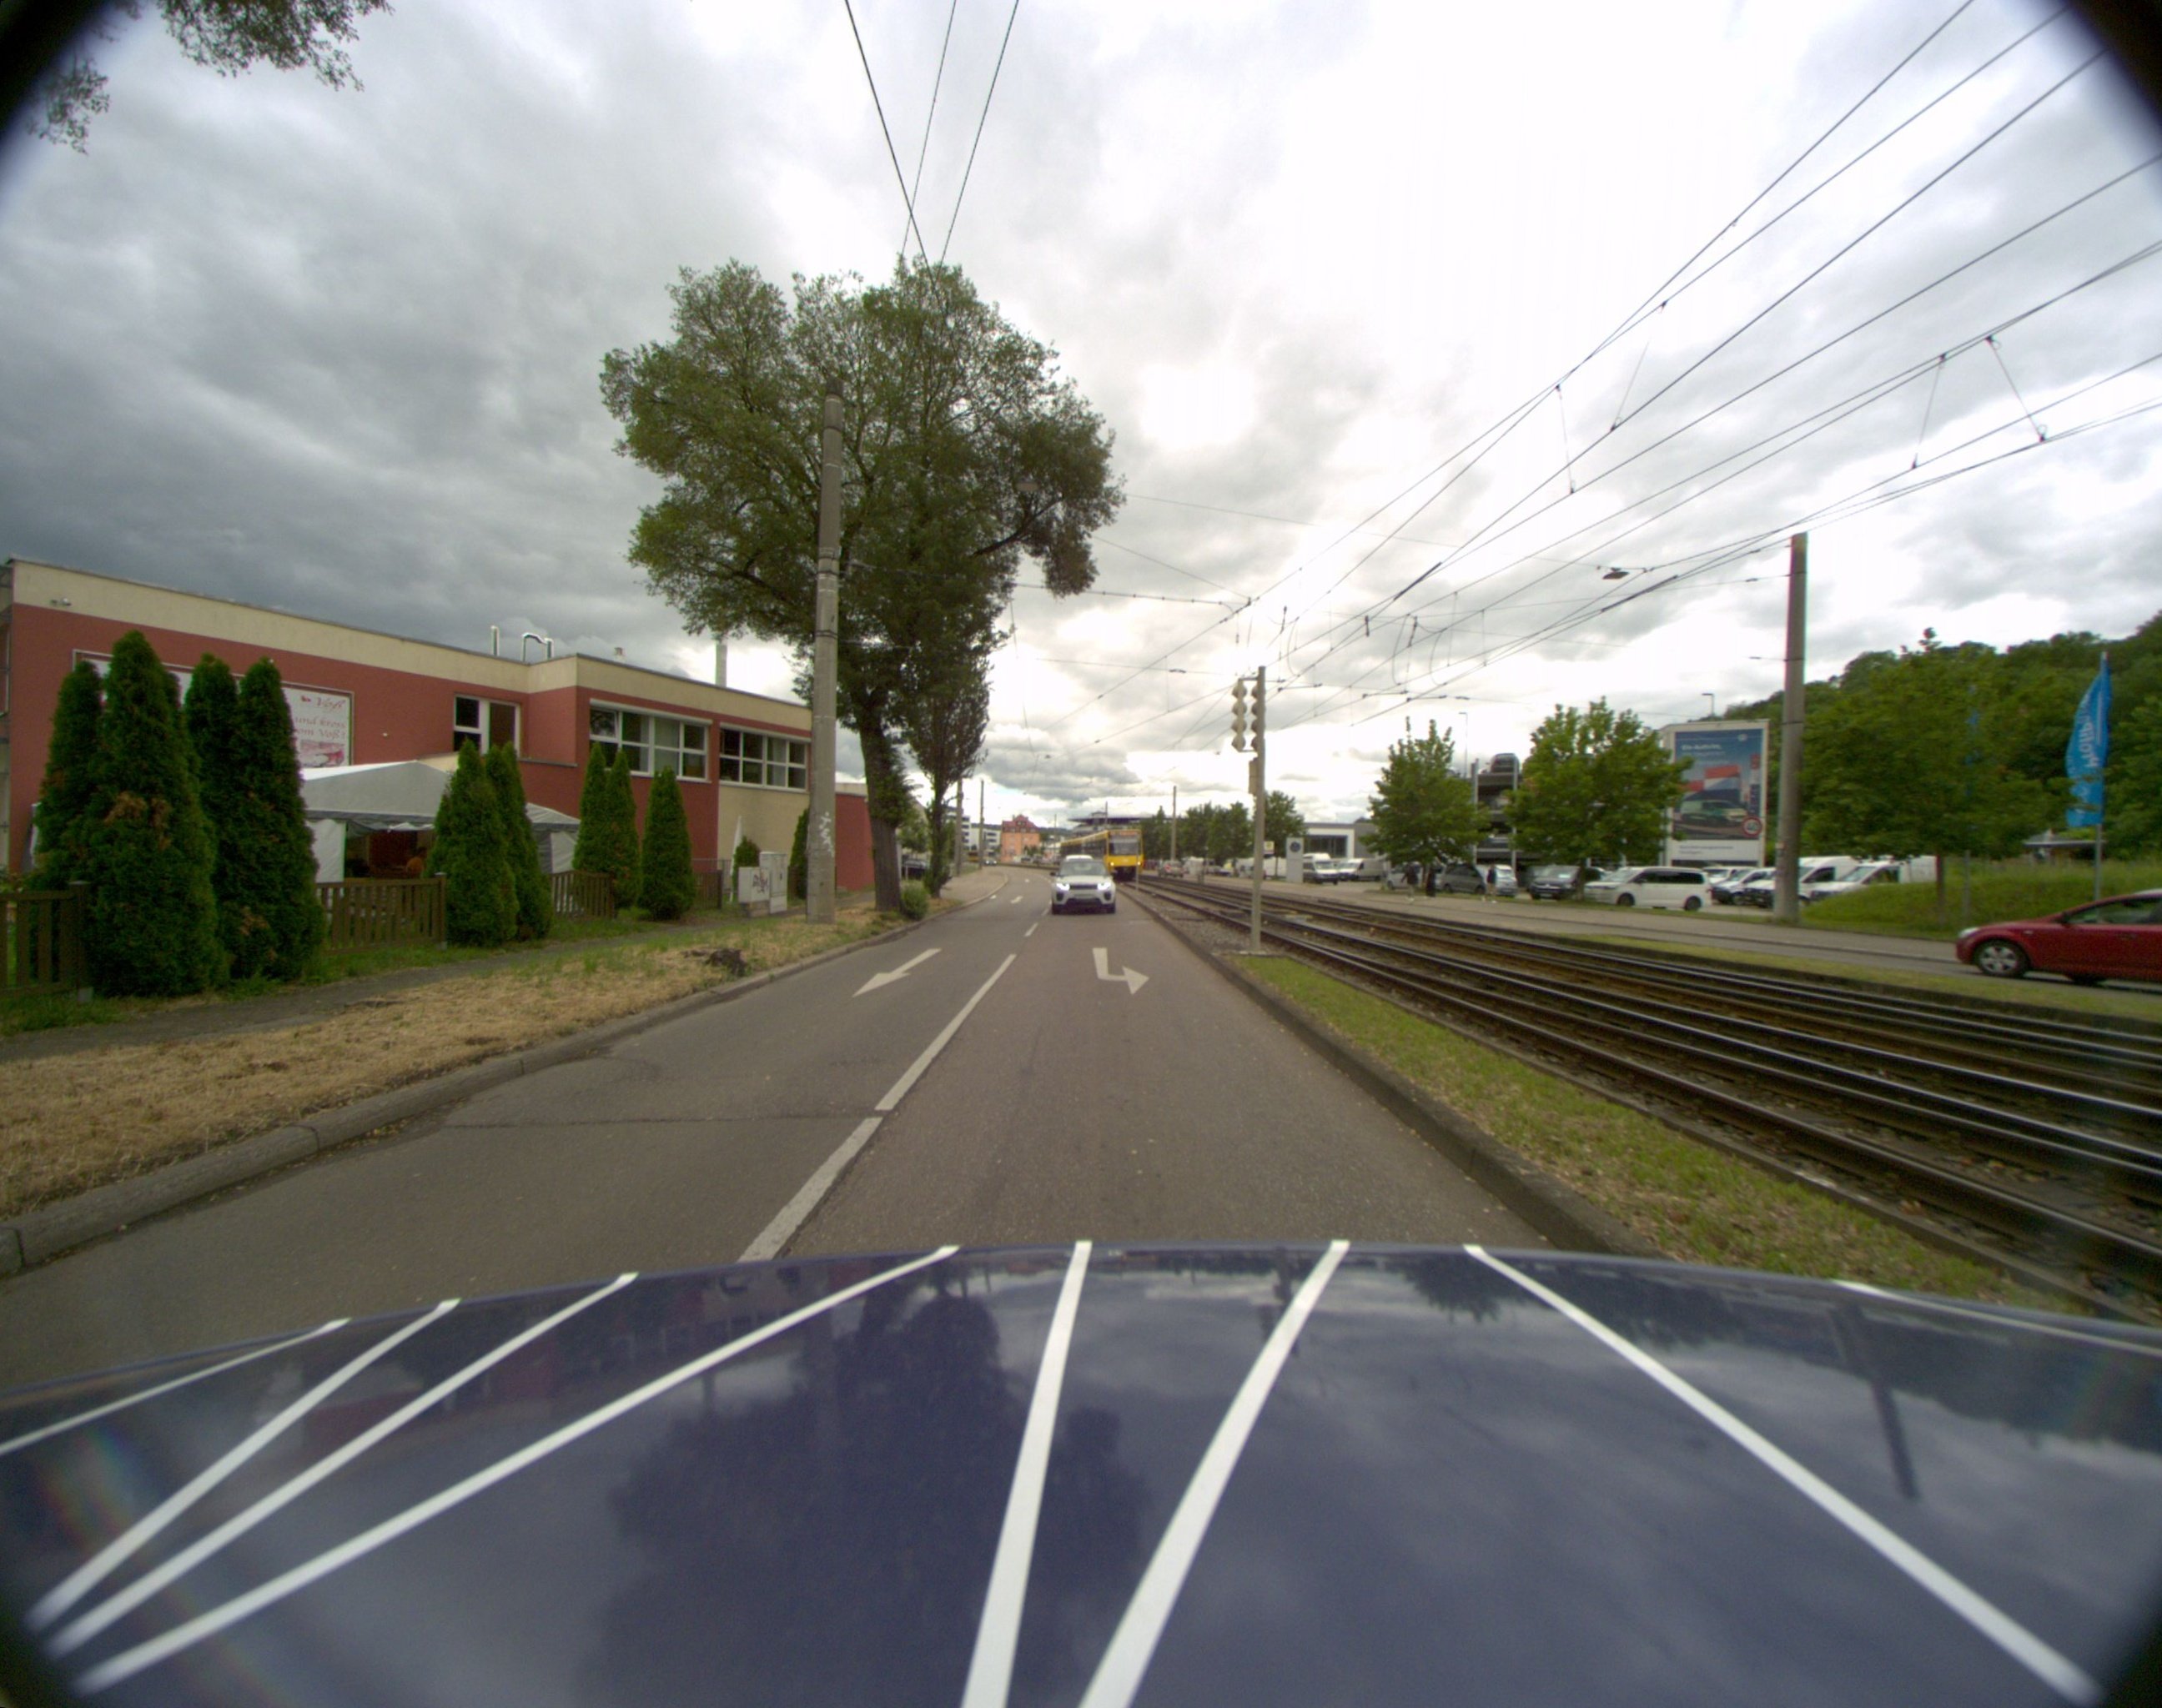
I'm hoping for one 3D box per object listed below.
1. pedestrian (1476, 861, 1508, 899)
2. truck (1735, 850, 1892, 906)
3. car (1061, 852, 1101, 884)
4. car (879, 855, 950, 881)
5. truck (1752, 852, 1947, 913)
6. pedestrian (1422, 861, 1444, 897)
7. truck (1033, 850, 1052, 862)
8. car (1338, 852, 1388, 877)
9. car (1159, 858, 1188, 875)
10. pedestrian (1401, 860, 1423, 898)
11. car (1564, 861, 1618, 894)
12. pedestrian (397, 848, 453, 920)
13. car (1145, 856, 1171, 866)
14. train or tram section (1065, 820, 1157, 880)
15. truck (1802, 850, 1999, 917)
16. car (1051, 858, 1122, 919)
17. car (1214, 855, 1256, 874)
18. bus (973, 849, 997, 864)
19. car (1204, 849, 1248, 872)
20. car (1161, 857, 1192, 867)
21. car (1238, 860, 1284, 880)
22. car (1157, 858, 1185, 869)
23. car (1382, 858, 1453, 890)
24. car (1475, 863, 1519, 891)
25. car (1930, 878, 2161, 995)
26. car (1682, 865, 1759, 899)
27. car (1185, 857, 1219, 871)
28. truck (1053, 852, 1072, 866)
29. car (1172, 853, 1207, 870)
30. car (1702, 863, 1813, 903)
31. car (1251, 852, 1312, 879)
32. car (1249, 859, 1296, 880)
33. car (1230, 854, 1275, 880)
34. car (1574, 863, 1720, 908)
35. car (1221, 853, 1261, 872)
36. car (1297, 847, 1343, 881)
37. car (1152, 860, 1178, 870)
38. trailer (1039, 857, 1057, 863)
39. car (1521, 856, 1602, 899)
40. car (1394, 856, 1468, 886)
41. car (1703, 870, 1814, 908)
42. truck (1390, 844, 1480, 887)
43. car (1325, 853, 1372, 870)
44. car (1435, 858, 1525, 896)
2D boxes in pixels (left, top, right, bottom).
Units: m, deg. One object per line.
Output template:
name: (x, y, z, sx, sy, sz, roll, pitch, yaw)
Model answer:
pedestrian: (18.163, 1.145, 33.580, 0.720, 1.646, 1.041, -2, 0, -13)
truck: (36.454, 1.147, 38.049, 5.061, 2.572, 2.472, 1, 0, 19)
car: (-0.065, 0.841, 46.812, 2.000, 1.881, 4.624, 1, 0, -6)
car: (-10.846, 0.879, 49.569, 4.223, 1.434, 1.766, 3, 1, 22)
truck: (35.138, 1.251, 34.998, 5.765, 2.572, 2.472, 1, 0, 19)
pedestrian: (17.279, 1.214, 37.291, 0.630, 1.703, 0.855, -1, 0, -3)
truck: (-10.220, 0.600, 199.061, 3.119, 2.904, 8.950, 3, -1, -14)
car: (30.560, 1.129, 82.386, 5.965, 2.587, 1.999, 1, 0, -35)
car: (8.928, 1.207, 73.584, 1.896, 1.523, 4.254, 4, -1, -4)
pedestrian: (16.158, 1.208, 37.123, 0.678, 1.802, 0.855, -1, 0, -3)
car: (33.702, 1.509, 50.338, 1.995, 2.001, 4.475, 1, 0, 21)
pedestrian: (-13.951, 0.624, 16.170, 0.703, 1.481, 0.771, 1, 0, 37)
car: (13.546, 1.269, 133.584, 4.190, 1.608, 2.062, 1, 0, -4)
train or tram section: (1.853, -0.355, 59.311, 3.400, 3.984, 16.925, -1, 1, -11)
truck: (34.242, 1.153, 32.019, 5.059, 2.572, 2.473, 1, 0, 25)
car: (0.105, 0.994, 23.504, 1.999, 1.717, 3.999, 0, 0, -2)
car: (18.080, 1.256, 89.122, 4.380, 2.160, 2.002, 1, 0, -10)
bus: (-27.447, 0.609, 217.207, 3.566, 3.930, 10.468, -1, 1, -27)
car: (17.987, 0.804, 94.351, 4.983, 2.682, 2.113, 1, 0, -10)
car: (14.869, 1.229, 118.470, 4.380, 1.608, 2.003, 1, 0, -8)
car: (19.358, 1.746, 81.715, 4.380, 2.093, 2.002, 1, 0, -10)
car: (14.271, 1.457, 120.546, 3.998, 1.608, 1.999, 1, 0, -4)
car: (22.157, 1.257, 50.221, 2.000, 2.002, 4.916, 1, 0, -8)
car: (28.704, 1.553, 52.557, 1.995, 1.820, 4.475, 1, 0, 21)
car: (15.786, 1.238, 10.854, 2.000, 1.506, 4.498, 4, 0, -6)
car: (39.585, 1.688, 47.015, 4.284, 2.001, 1.996, 0, -1, -25)
car: (16.891, 1.376, 106.239, 4.378, 1.834, 2.003, 1, 0, -5)
truck: (-4.260, 1.100, 172.600, 2.874, 2.963, 8.446, 3, -1, -12)
car: (15.486, 1.084, 108.358, 4.510, 2.298, 2.124, 1, 0, -5)
car: (36.501, 1.527, 41.110, 3.993, 2.002, 2.002, 0, 0, 11)
car: (20.118, 1.190, 76.492, 5.489, 2.587, 2.245, 1, 0, -6)
car: (19.955, 1.637, 79.247, 4.380, 2.093, 2.002, 1, 0, -10)
car: (18.974, 1.433, 84.036, 4.380, 2.802, 2.002, 1, 0, -10)
car: (25.181, 1.388, 33.900, 5.071, 1.876, 2.165, 1, 0, -6)
car: (19.331, 0.994, 91.893, 4.380, 2.160, 2.002, 1, 0, -10)
car: (22.397, 0.922, 71.466, 2.114, 3.001, 5.935, 1, 0, -4)
car: (14.053, 1.790, 126.972, 3.998, 1.608, 1.999, 1, 0, -4)
trailer: (-8.365, 1.452, 191.282, 3.061, 1.270, 6.998, 3, -1, -13)
car: (24.396, 1.160, 38.501, 5.084, 2.002, 2.160, 1, 0, -42)
car: (25.084, 1.219, 54.604, 4.719, 2.002, 2.003, 1, 0, 21)
car: (38.587, 1.950, 43.395, 4.259, 2.002, 1.983, 1, 0, 11)
truck: (26.506, 0.844, 57.072, 5.923, 3.066, 2.124, 1, 0, 24)
car: (31.917, 0.899, 90.807, 4.857, 2.002, 1.999, 1, 0, -4)
car: (22.903, 1.273, 43.899, 2.000, 2.002, 5.126, 1, 0, -7)
